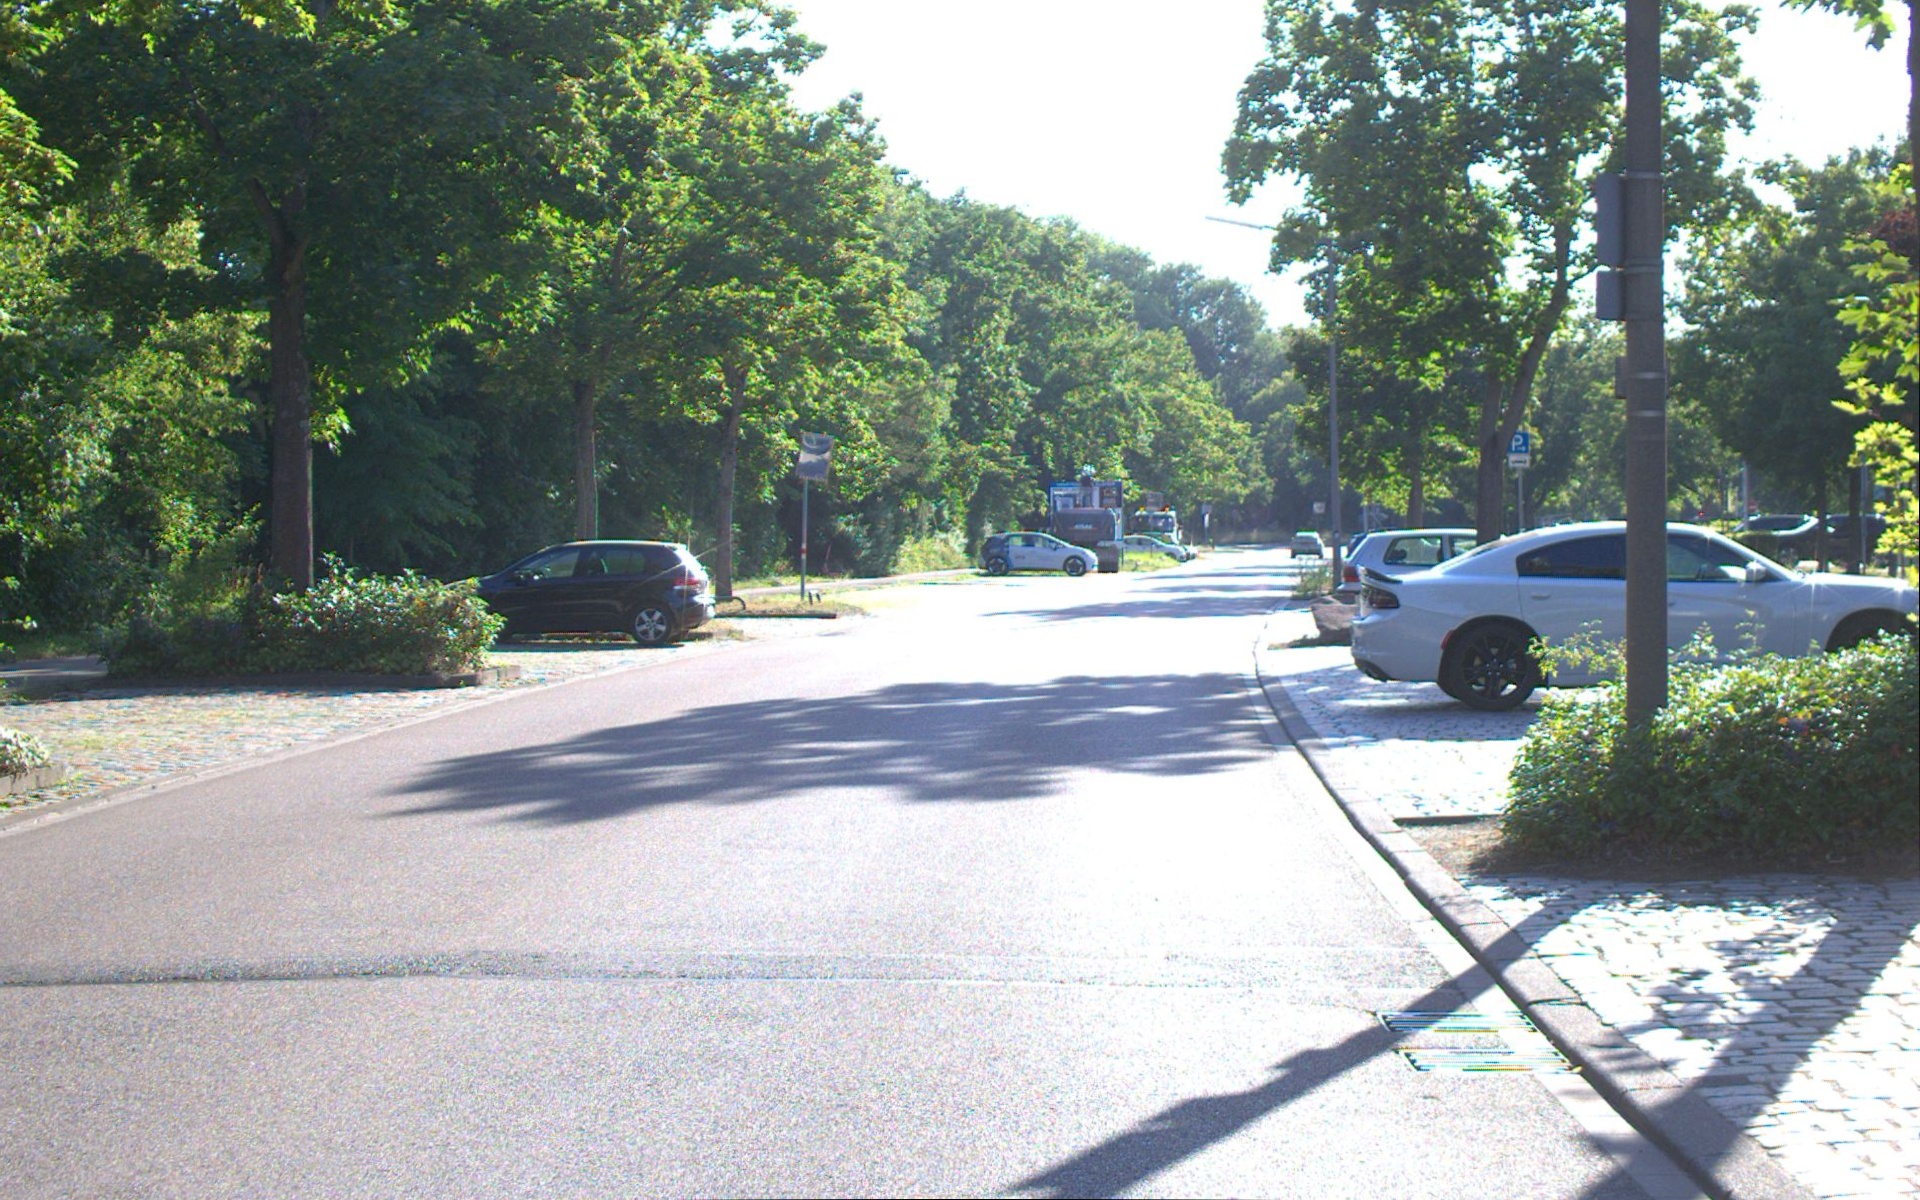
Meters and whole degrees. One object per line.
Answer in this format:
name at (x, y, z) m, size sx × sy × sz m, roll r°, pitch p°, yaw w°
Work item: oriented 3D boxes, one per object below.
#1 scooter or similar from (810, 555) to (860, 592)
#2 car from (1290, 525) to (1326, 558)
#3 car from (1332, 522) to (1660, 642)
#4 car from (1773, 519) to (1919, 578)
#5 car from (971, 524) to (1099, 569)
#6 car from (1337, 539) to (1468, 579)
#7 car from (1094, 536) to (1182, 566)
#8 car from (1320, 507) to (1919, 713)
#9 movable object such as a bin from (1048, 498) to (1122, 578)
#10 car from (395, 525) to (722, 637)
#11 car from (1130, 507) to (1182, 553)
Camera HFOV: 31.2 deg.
scooter or similar at (-3.957, -0.843, 108.565) m, size 1.580 × 1.141 × 0.577 m, roll -1°, pitch 1°, yaw -43°
car at (20.237, -3.422, 200.096) m, size 1.994 × 1.897 × 3.999 m, roll -1°, pitch 1°, yaw 5°
car at (7.583, -0.251, 48.496) m, size 4.361 × 1.474 × 1.999 m, roll -2°, pitch 0°, yaw 14°
car at (26.948, -1.562, 103.840) m, size 4.430 × 1.700 × 2.059 m, roll -1°, pitch 1°, yaw 6°
car at (2.684, -1.913, 122.619) m, size 4.360 × 1.542 × 1.999 m, roll -1°, pitch 1°, yaw 8°
car at (16.772, -1.558, 130.244) m, size 4.843 × 1.474 × 1.999 m, roll -1°, pitch 1°, yaw 8°
car at (9.045, -2.491, 175.136) m, size 4.358 × 1.474 × 2.000 m, roll -1°, pitch 1°, yaw 1°
car at (5.654, 0.056, 28.332) m, size 5.175 × 1.568 × 2.158 m, roll -1°, pitch 1°, yaw 2°
movable object such as a bin at (4.939, -2.427, 135.123) m, size 2.838 × 3.058 × 4.927 m, roll -1°, pitch 1°, yaw 3°
car at (-5.747, -0.288, 49.579) m, size 4.359 × 1.474 × 2.000 m, roll 1°, pitch 1°, yaw 4°
car at (10.493, -3.758, 184.357) m, size 2.516 × 2.378 × 4.373 m, roll -1°, pitch 1°, yaw 0°
